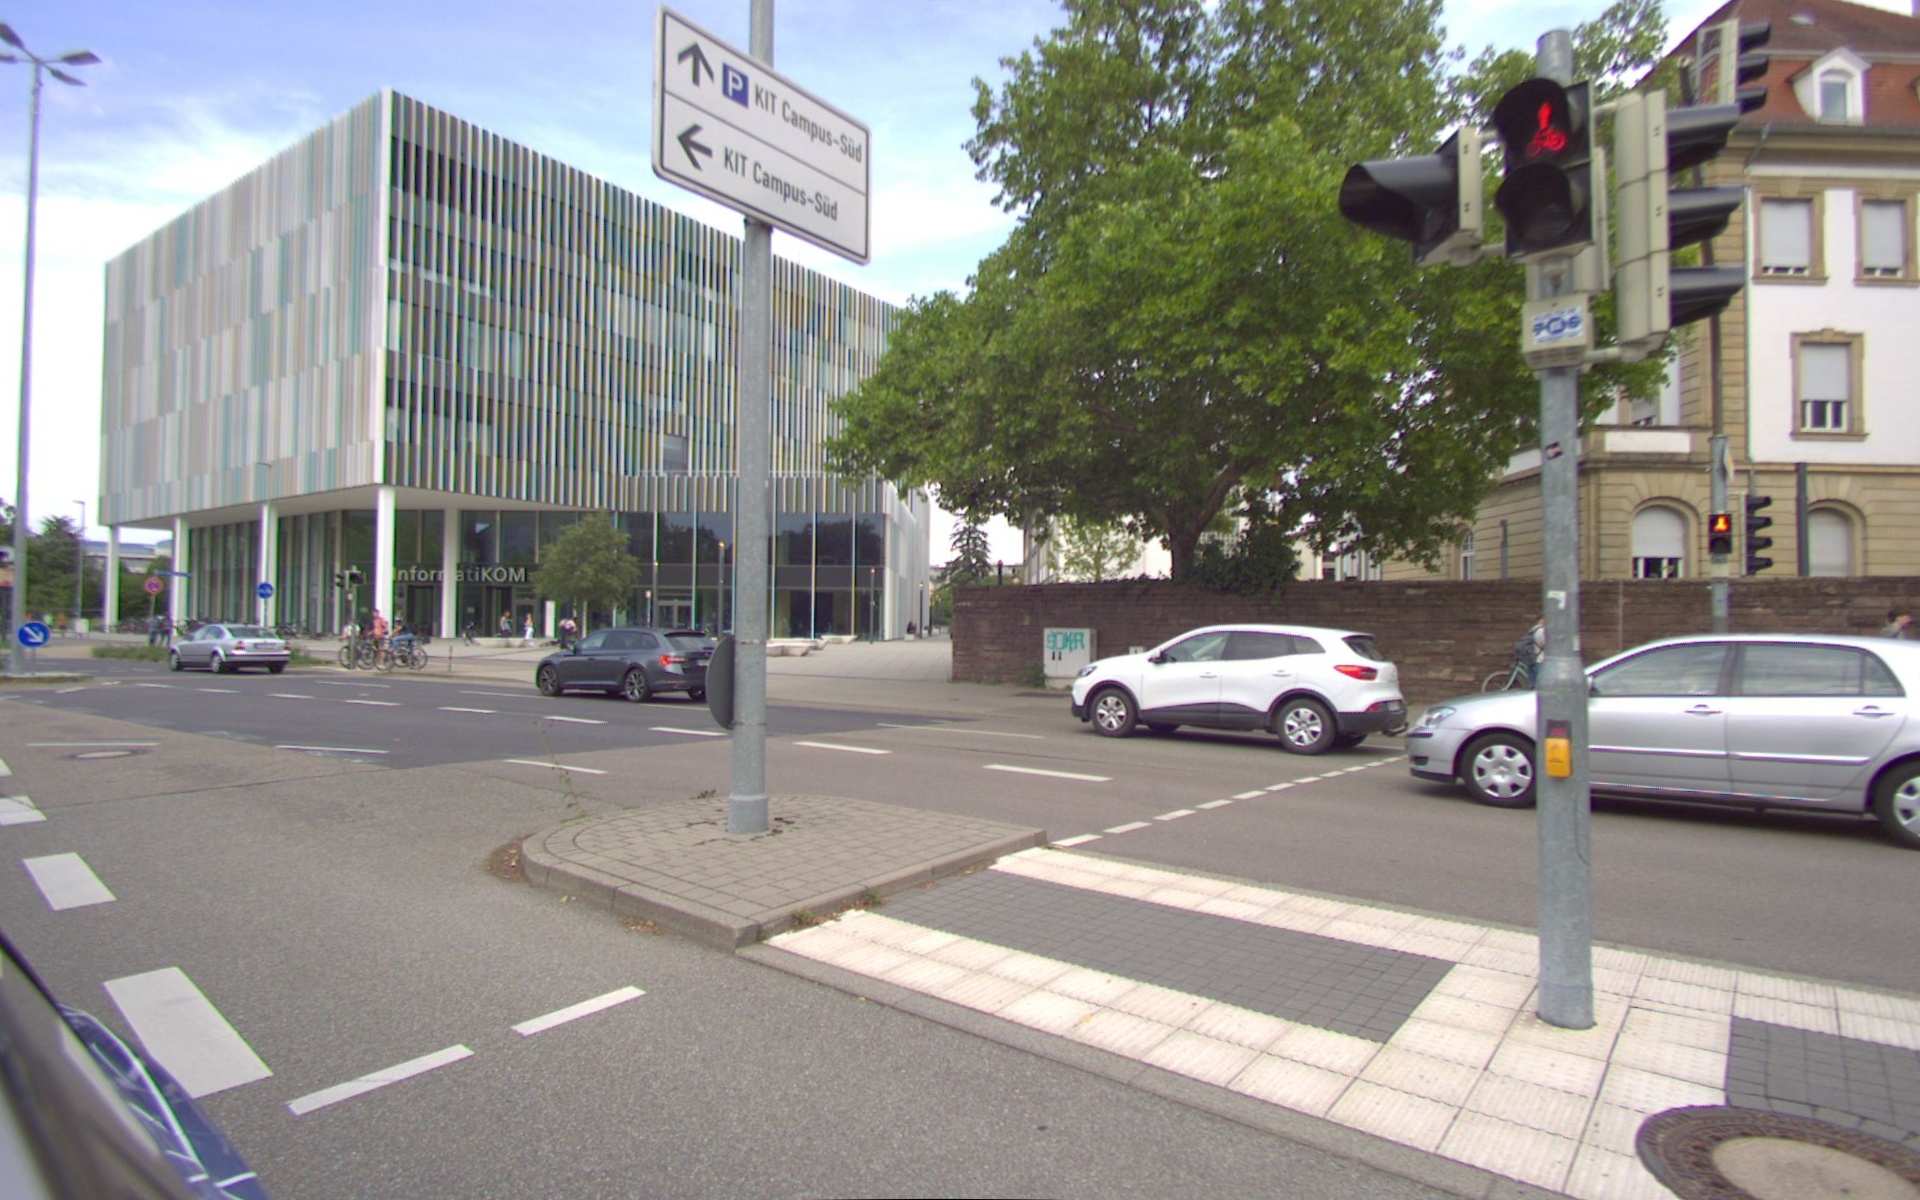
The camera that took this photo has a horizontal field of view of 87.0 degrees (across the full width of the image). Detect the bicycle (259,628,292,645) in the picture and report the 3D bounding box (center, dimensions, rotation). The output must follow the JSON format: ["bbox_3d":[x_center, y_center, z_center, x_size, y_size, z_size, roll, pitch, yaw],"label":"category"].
[{"bbox_3d":[-39.580,2.094,58.529,0.388,0.944,1.530,-1,0,31],"label":"bicycle"}]

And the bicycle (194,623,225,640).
[{"bbox_3d":[-48.648,2.038,65.618,0.388,1.031,1.566,-1,0,31],"label":"bicycle"}]

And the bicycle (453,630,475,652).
[{"bbox_3d":[-25.031,2.084,51.121,0.388,1.037,1.547,-1,0,-1],"label":"bicycle"}]

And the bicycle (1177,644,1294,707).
[{"bbox_3d":[5.465,1.468,20.134,2.160,1.134,0.572,-1,1,35],"label":"bicycle"}]

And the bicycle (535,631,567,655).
[{"bbox_3d":[-17.150,1.797,42.403,1.747,1.006,0.434,-1,-2,39],"label":"bicycle"}]

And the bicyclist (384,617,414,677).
[{"bbox_3d":[-17.522,1.458,31.630,0.558,1.820,0.597,0,0,22],"label":"bicyclist"}]

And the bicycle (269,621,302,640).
[{"bbox_3d":[-38.436,1.728,57.703,0.398,1.002,1.530,-1,0,32],"label":"bicycle"}]

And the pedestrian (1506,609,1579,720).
[{"bbox_3d":[9.757,1.061,16.964,0.774,1.796,0.746,1,-1,4],"label":"pedestrian"}]

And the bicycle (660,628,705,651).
[{"bbox_3d":[-14.025,1.986,51.275,0.791,1.097,2.664,0,-2,21],"label":"bicycle"}]

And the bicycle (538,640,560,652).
[{"bbox_3d":[-20.603,2.310,50.820,0.613,0.526,2.255,1,-2,-11],"label":"bicycle"}]

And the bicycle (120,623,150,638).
[{"bbox_3d":[-61.047,2.276,74.879,0.433,1.031,1.686,-1,0,31],"label":"bicycle"}]

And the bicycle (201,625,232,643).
[{"bbox_3d":[-47.248,2.157,64.292,0.388,1.031,1.566,-1,0,31],"label":"bicycle"}]

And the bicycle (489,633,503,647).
[{"bbox_3d":[-23.789,2.044,51.884,0.387,0.678,1.801,-1,0,-17],"label":"bicycle"}]

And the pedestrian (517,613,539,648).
[{"bbox_3d":[-20.367,1.437,47.693,0.670,1.612,0.729,0,-1,5],"label":"pedestrian"}]

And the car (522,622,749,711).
[{"bbox_3d":[-6.700,1.278,20.699,4.730,1.628,1.882,-1,-2,33],"label":"car"}]

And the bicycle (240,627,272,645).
[{"bbox_3d":[-43.056,2.202,61.902,0.388,1.031,1.566,-1,0,31],"label":"bicycle"}]

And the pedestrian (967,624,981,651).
[{"bbox_3d":[1.017,2.694,73.355,0.962,1.945,1.070,0,-3,2],"label":"pedestrian"}]

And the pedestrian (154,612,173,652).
[{"bbox_3d":[-37.043,1.477,47.056,0.623,1.851,0.506,-2,-3,35],"label":"pedestrian"}]

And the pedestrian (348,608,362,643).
[{"bbox_3d":[-36.143,1.527,60.483,0.623,2.059,0.506,-2,-3,34],"label":"pedestrian"}]

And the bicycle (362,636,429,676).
[{"bbox_3d":[-17.577,1.733,31.556,0.602,1.179,1.882,0,-2,21],"label":"bicycle"}]

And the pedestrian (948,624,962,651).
[{"bbox_3d":[-0.370,2.690,72.315,0.962,1.945,1.070,0,-3,2],"label":"pedestrian"}]

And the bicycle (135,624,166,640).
[{"bbox_3d":[-57.575,2.257,71.997,0.433,1.031,1.686,-1,0,31],"label":"bicycle"}]

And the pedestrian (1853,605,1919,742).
[{"bbox_3d":[12.796,0.979,13.673,0.774,1.796,0.745,1,-1,6],"label":"pedestrian"}]

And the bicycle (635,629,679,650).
[{"bbox_3d":[-15.366,1.995,51.345,0.668,1.007,2.664,0,-2,21],"label":"bicycle"}]

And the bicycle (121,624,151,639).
[{"bbox_3d":[-60.438,2.272,74.224,0.433,1.031,1.686,-1,0,31],"label":"bicycle"}]

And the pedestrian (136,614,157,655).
[{"bbox_3d":[-37.311,1.585,46.422,0.771,1.851,0.506,-2,-3,36],"label":"pedestrian"}]

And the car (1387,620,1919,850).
[{"bbox_3d":[5.872,0.922,8.052,4.281,1.500,1.785,-1,-2,37],"label":"car"}]

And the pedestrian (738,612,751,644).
[{"bbox_3d":[-12.052,1.556,56.584,0.626,1.792,0.597,1,-1,-9],"label":"pedestrian"}]

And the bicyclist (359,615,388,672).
[{"bbox_3d":[-18.747,1.380,32.360,0.558,1.820,0.597,0,0,22],"label":"bicyclist"}]

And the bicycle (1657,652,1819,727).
[{"bbox_3d":[12.238,1.383,15.994,1.975,1.066,0.544,-1,1,33],"label":"bicycle"}]

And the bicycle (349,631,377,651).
[{"bbox_3d":[-30.684,2.115,52.025,0.389,0.944,1.609,-1,0,3],"label":"bicycle"}]

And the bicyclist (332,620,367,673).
[{"bbox_3d":[-20.152,1.521,33.420,0.719,1.685,0.723,0,0,22],"label":"bicyclist"}]

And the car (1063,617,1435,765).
[{"bbox_3d":[3.742,1.069,13.483,4.415,1.665,1.847,-1,-2,37],"label":"car"}]

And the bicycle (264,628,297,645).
[{"bbox_3d":[-39.036,2.093,58.139,0.392,0.944,1.530,-1,0,31],"label":"bicycle"}]

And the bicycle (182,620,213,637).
[{"bbox_3d":[-49.806,1.873,66.101,0.388,1.031,1.565,0,-4,31],"label":"bicycle"}]

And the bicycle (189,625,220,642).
[{"bbox_3d":[-49.228,2.160,65.972,0.388,1.031,1.566,-1,0,31],"label":"bicycle"}]

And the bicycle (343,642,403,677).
[{"bbox_3d":[-18.742,1.883,32.365,0.568,0.996,1.680,0,0,22],"label":"bicycle"}]

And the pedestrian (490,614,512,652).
[{"bbox_3d":[-21.471,1.525,47.371,0.669,1.753,0.730,0,-1,2],"label":"pedestrian"}]

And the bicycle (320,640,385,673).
[{"bbox_3d":[-20.103,1.853,33.534,0.724,0.996,1.809,0,0,22],"label":"bicycle"}]

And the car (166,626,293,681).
[{"bbox_3d":[-21.718,1.541,30.031,4.537,1.500,1.745,-1,-2,37],"label":"car"}]

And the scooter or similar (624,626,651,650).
[{"bbox_3d":[-16.426,1.932,51.615,0.588,1.207,2.122,0,-2,4],"label":"scooter or similar"}]

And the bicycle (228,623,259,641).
[{"bbox_3d":[-44.749,1.996,63.198,0.388,1.031,1.566,-1,0,31],"label":"bicycle"}]

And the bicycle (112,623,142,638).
[{"bbox_3d":[-62.291,2.281,75.681,0.433,1.031,1.686,-1,0,31],"label":"bicycle"}]
